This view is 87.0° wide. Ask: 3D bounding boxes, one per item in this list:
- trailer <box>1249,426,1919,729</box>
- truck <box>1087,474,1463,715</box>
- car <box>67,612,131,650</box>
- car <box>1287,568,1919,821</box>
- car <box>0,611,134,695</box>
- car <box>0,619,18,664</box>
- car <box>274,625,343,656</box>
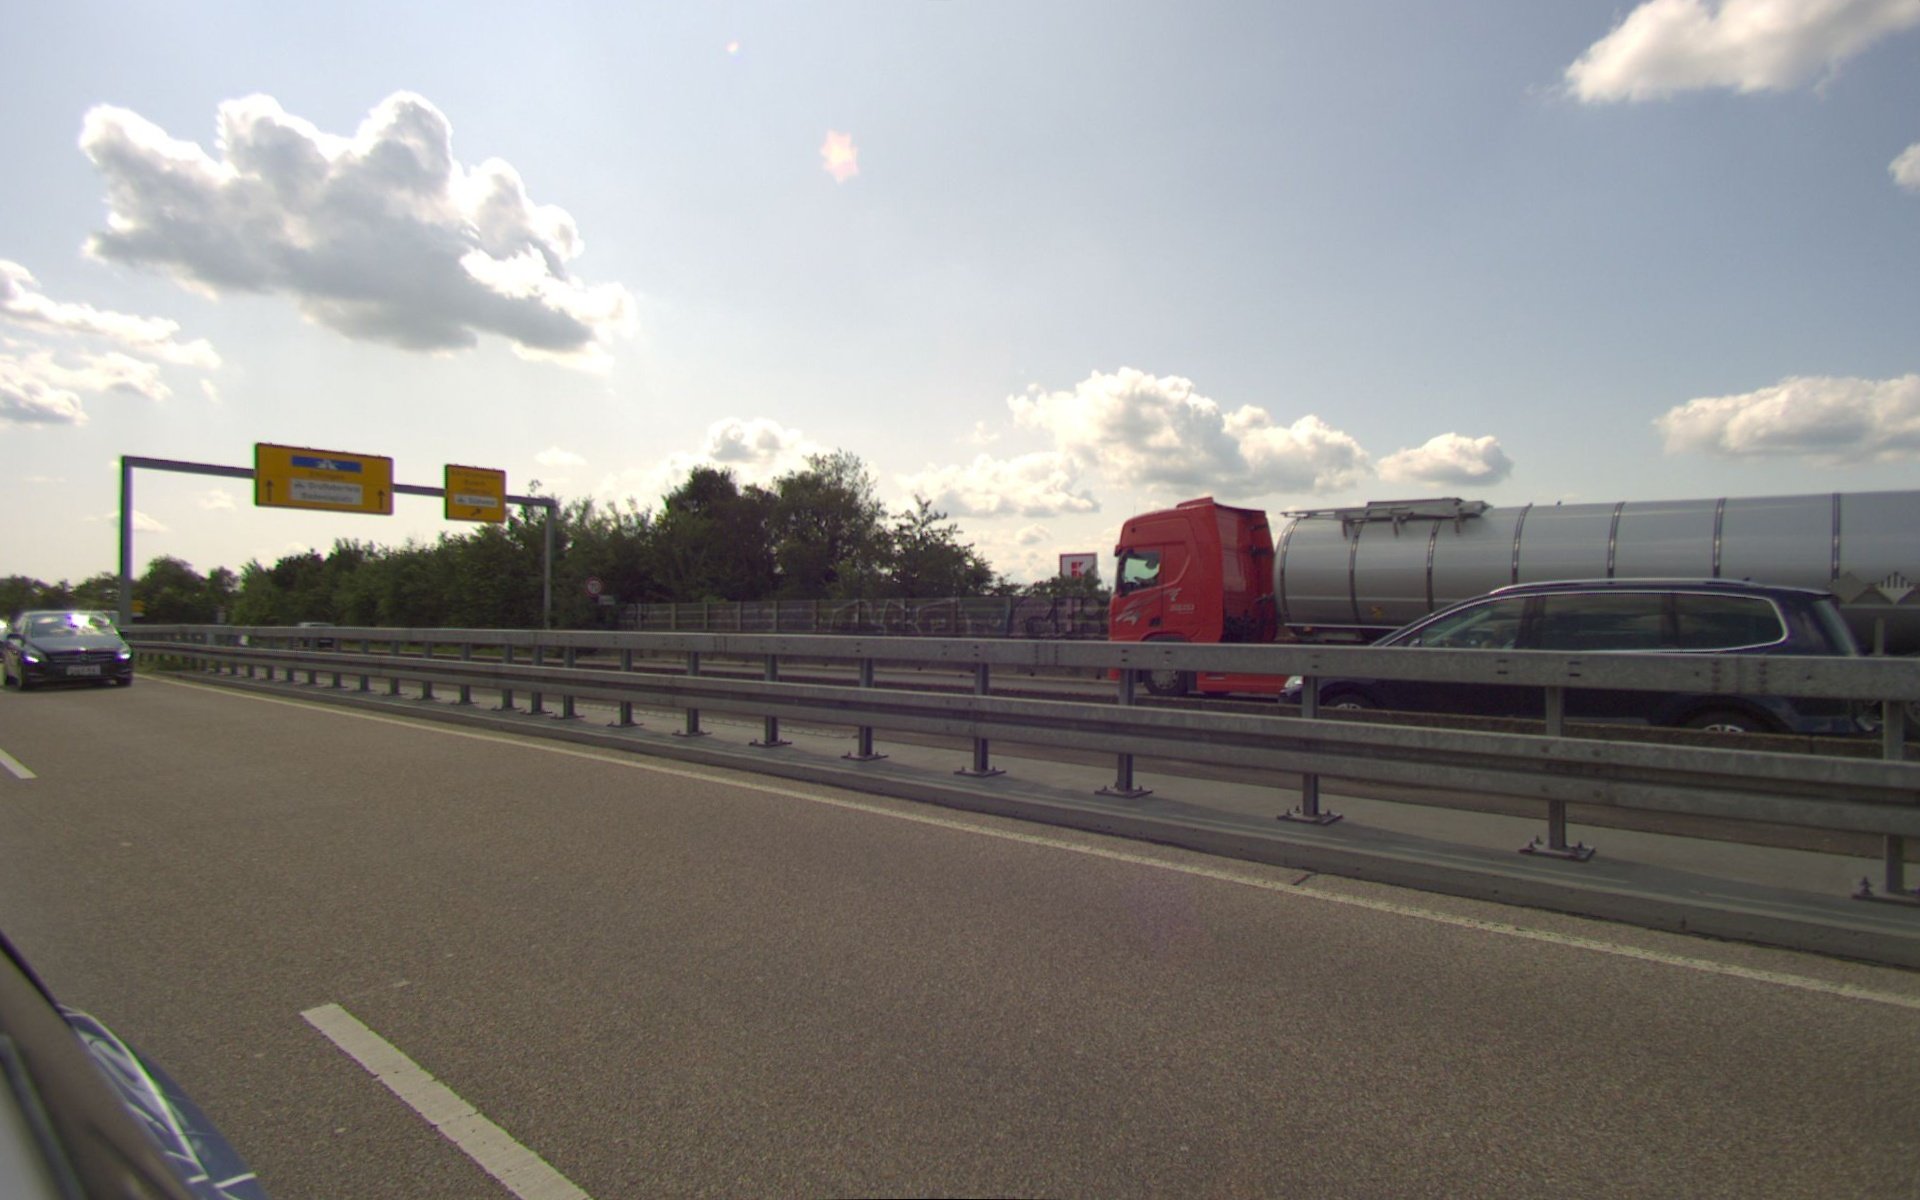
[{"bbox_3d":[10.173,-0.270,15.330,11.018,3.697,2.658,-1,0,40],"label":"trailer"},{"bbox_3d":[5.756,-0.081,19.054,6.227,3.810,2.622,-1,0,40],"label":"truck"},{"bbox_3d":[-50.032,1.780,58.779,5.228,2.004,2.057,1,-1,42],"label":"car"},{"bbox_3d":[5.618,0.660,9.265,4.594,1.763,1.973,-1,0,41],"label":"car"},{"bbox_3d":[-18.772,1.019,21.105,4.591,1.539,1.693,-1,0,42],"label":"car"},{"bbox_3d":[-32.483,1.363,33.450,3.770,1.422,1.604,-1,0,42],"label":"car"},{"bbox_3d":[-33.489,2.063,52.012,4.397,1.442,1.672,-1,0,39],"label":"car"}]
